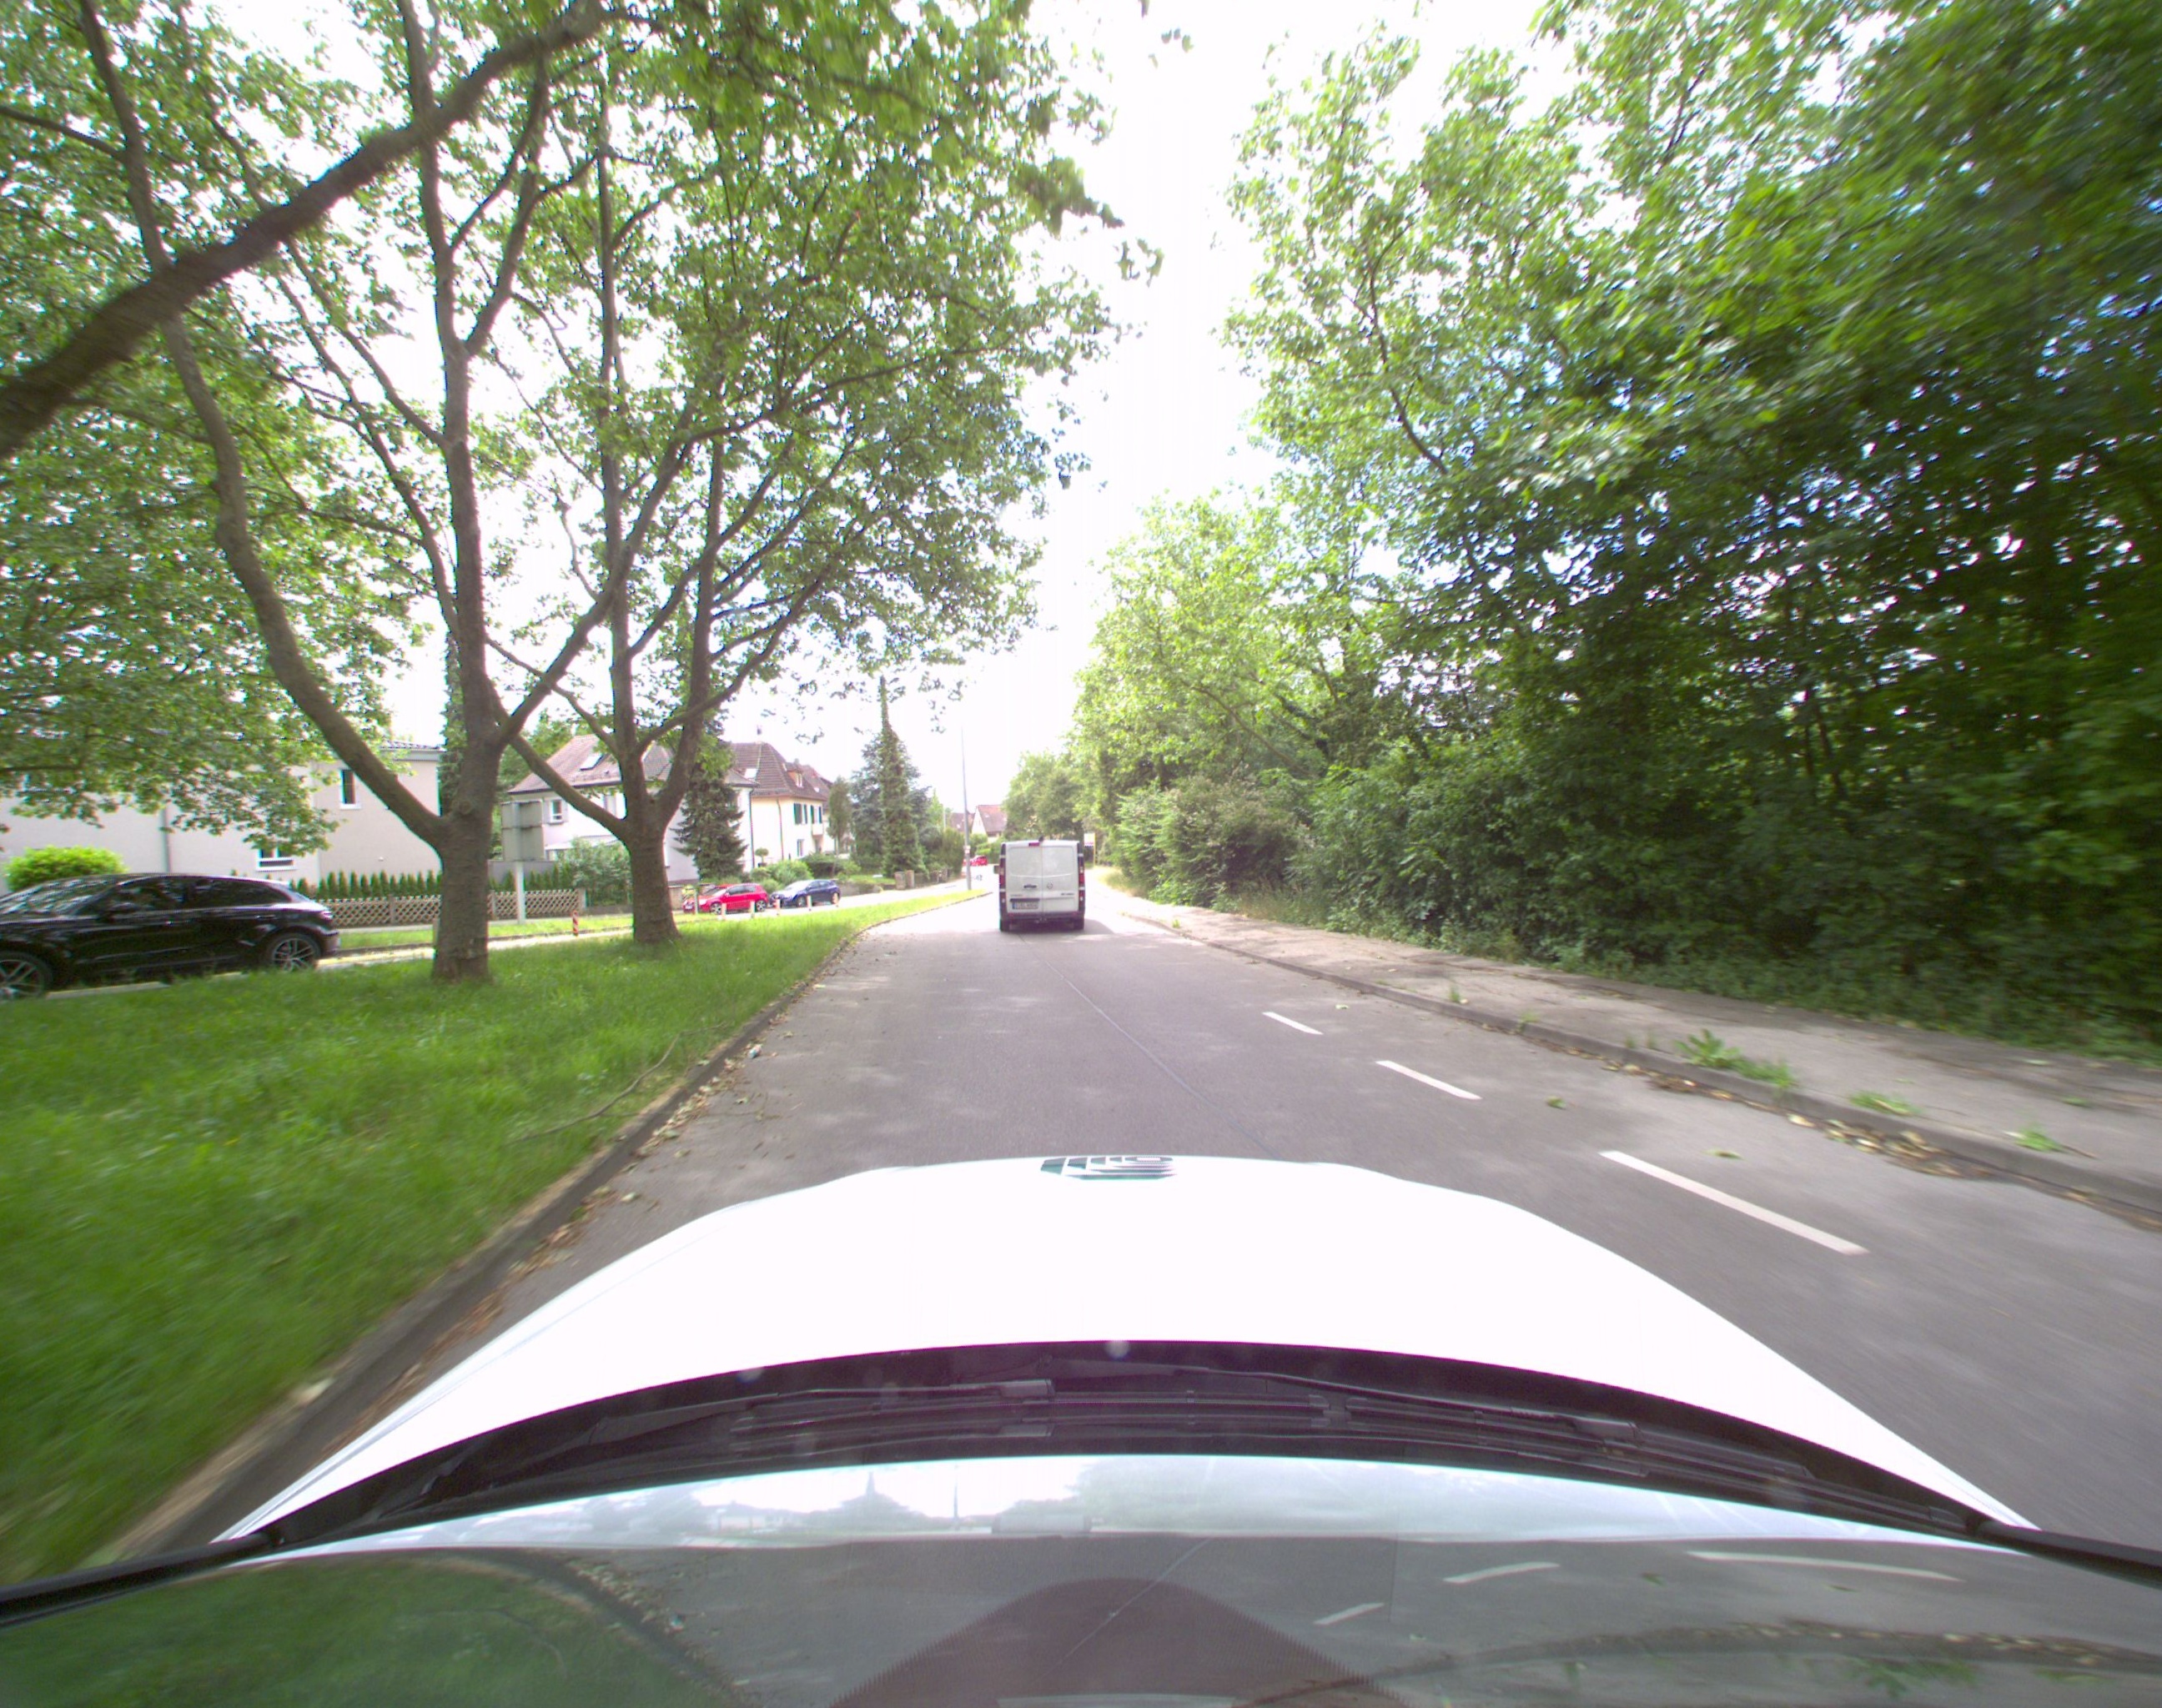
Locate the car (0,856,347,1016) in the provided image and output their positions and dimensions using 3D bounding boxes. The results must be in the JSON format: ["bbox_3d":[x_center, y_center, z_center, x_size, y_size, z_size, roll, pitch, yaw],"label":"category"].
[{"bbox_3d":[-12.450,0.939,10.278,1.747,1.591,4.624,-2,2,8],"label":"car"}]

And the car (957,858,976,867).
[{"bbox_3d":[-19.439,1.477,138.539,1.723,1.467,4.227,-3,1,-30],"label":"car"}]

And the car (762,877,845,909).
[{"bbox_3d":[-15.145,2.112,44.688,1.711,1.474,4.339,-3,0,24],"label":"car"}]

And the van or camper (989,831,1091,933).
[{"bbox_3d":[-1.106,0.503,19.184,1.923,2.013,4.816,-2,2,-8],"label":"van or camper"}]

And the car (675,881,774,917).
[{"bbox_3d":[-17.598,2.192,40.368,1.710,1.474,4.305,-3,0,29],"label":"car"}]

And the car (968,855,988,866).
[{"bbox_3d":[-16.956,1.100,133.747,1.770,1.797,4.906,-3,1,-26],"label":"car"}]
